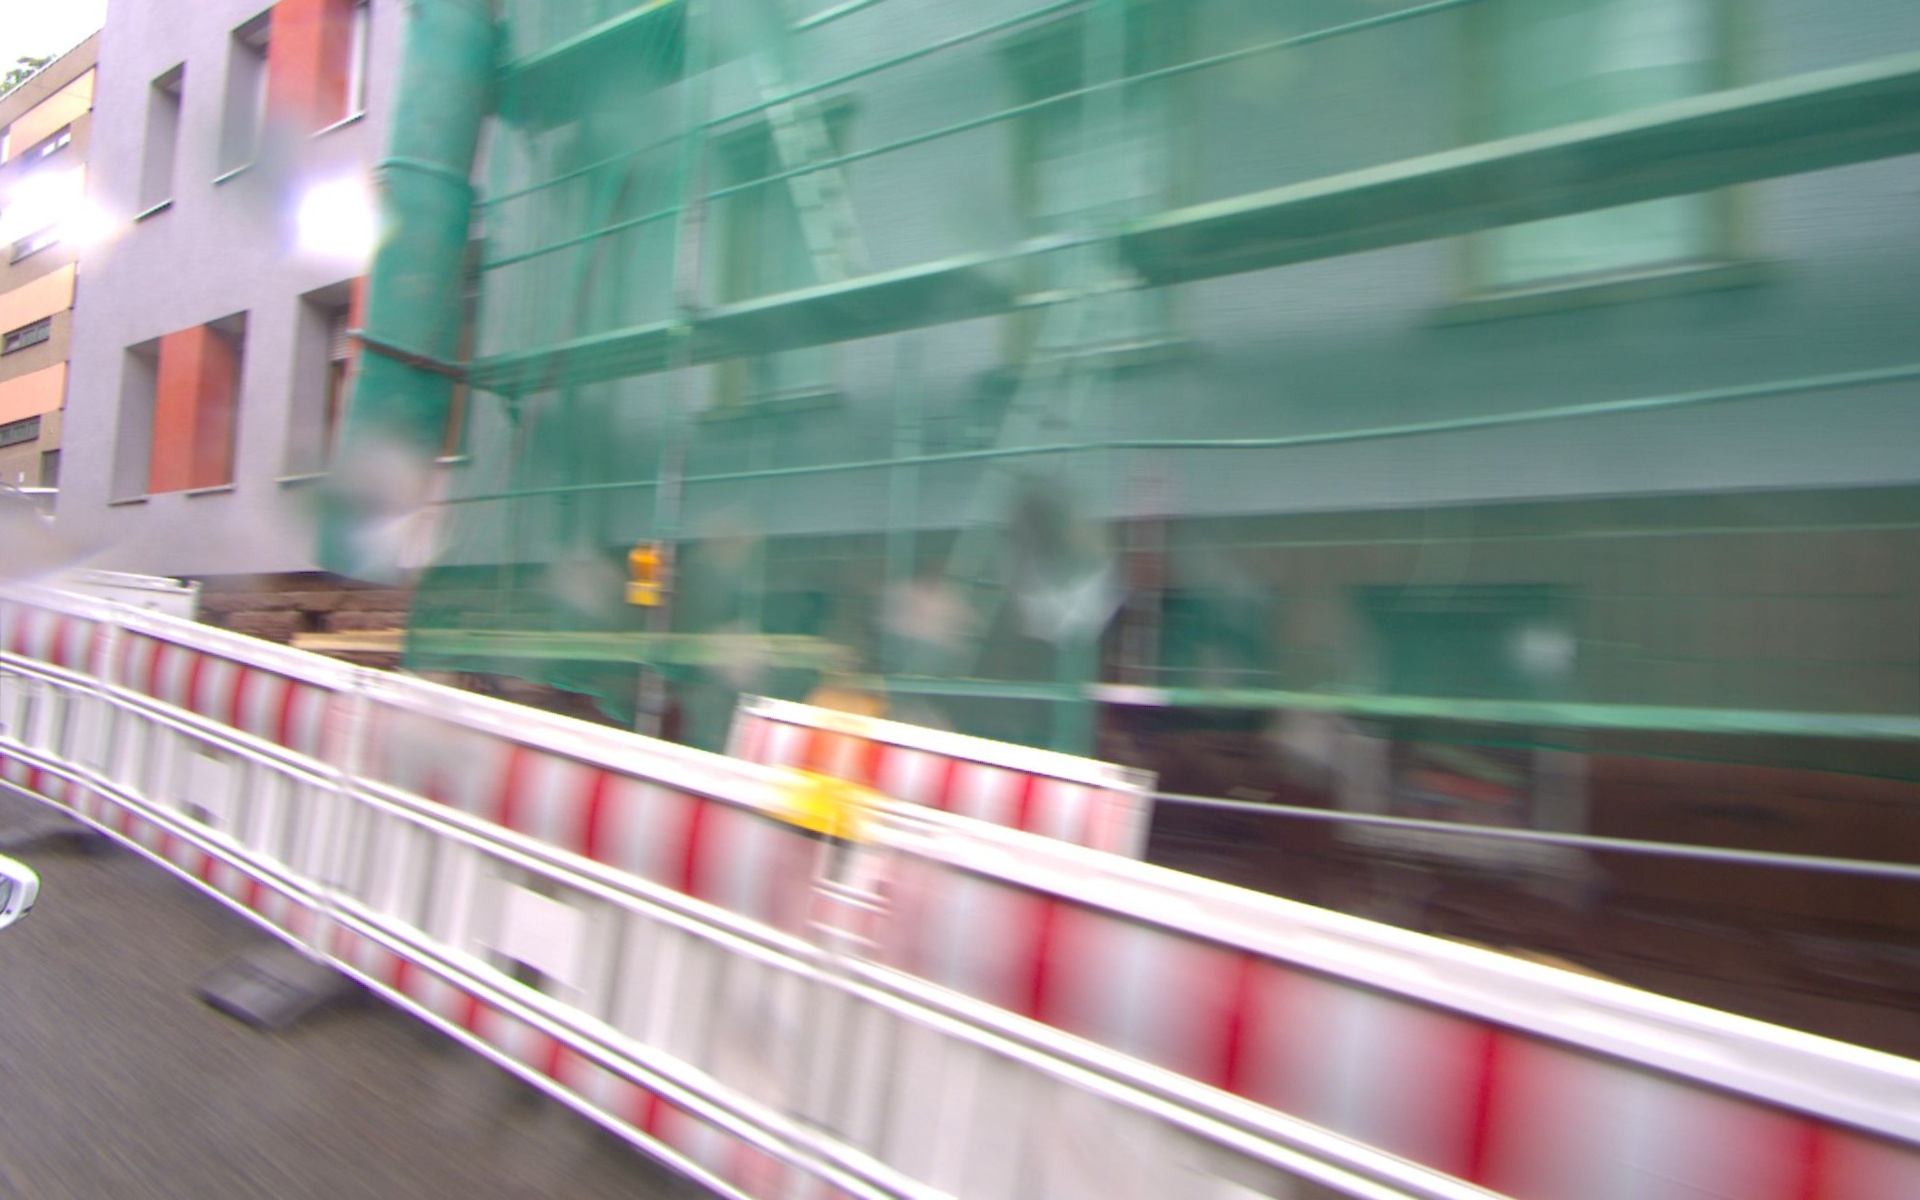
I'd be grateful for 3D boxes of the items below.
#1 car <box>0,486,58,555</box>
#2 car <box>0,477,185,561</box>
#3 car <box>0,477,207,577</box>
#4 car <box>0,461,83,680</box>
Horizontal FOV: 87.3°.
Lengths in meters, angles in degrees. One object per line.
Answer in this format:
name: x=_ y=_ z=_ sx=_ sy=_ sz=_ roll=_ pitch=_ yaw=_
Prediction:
car: x=-23.353 y=-1.922 z=22.828 sx=1.663 sy=1.551 sz=3.963 roll=6 pitch=3 yaw=27
car: x=-18.861 y=-1.671 z=20.644 sx=1.845 sy=1.552 sz=4.338 roll=7 pitch=5 yaw=30
car: x=-17.136 y=-1.404 z=19.394 sx=1.699 sy=1.726 sz=3.825 roll=7 pitch=4 yaw=30
car: x=-9.800 y=-0.509 z=8.963 sx=3.932 sy=1.782 sz=1.645 roll=7 pitch=-3 yaw=30
